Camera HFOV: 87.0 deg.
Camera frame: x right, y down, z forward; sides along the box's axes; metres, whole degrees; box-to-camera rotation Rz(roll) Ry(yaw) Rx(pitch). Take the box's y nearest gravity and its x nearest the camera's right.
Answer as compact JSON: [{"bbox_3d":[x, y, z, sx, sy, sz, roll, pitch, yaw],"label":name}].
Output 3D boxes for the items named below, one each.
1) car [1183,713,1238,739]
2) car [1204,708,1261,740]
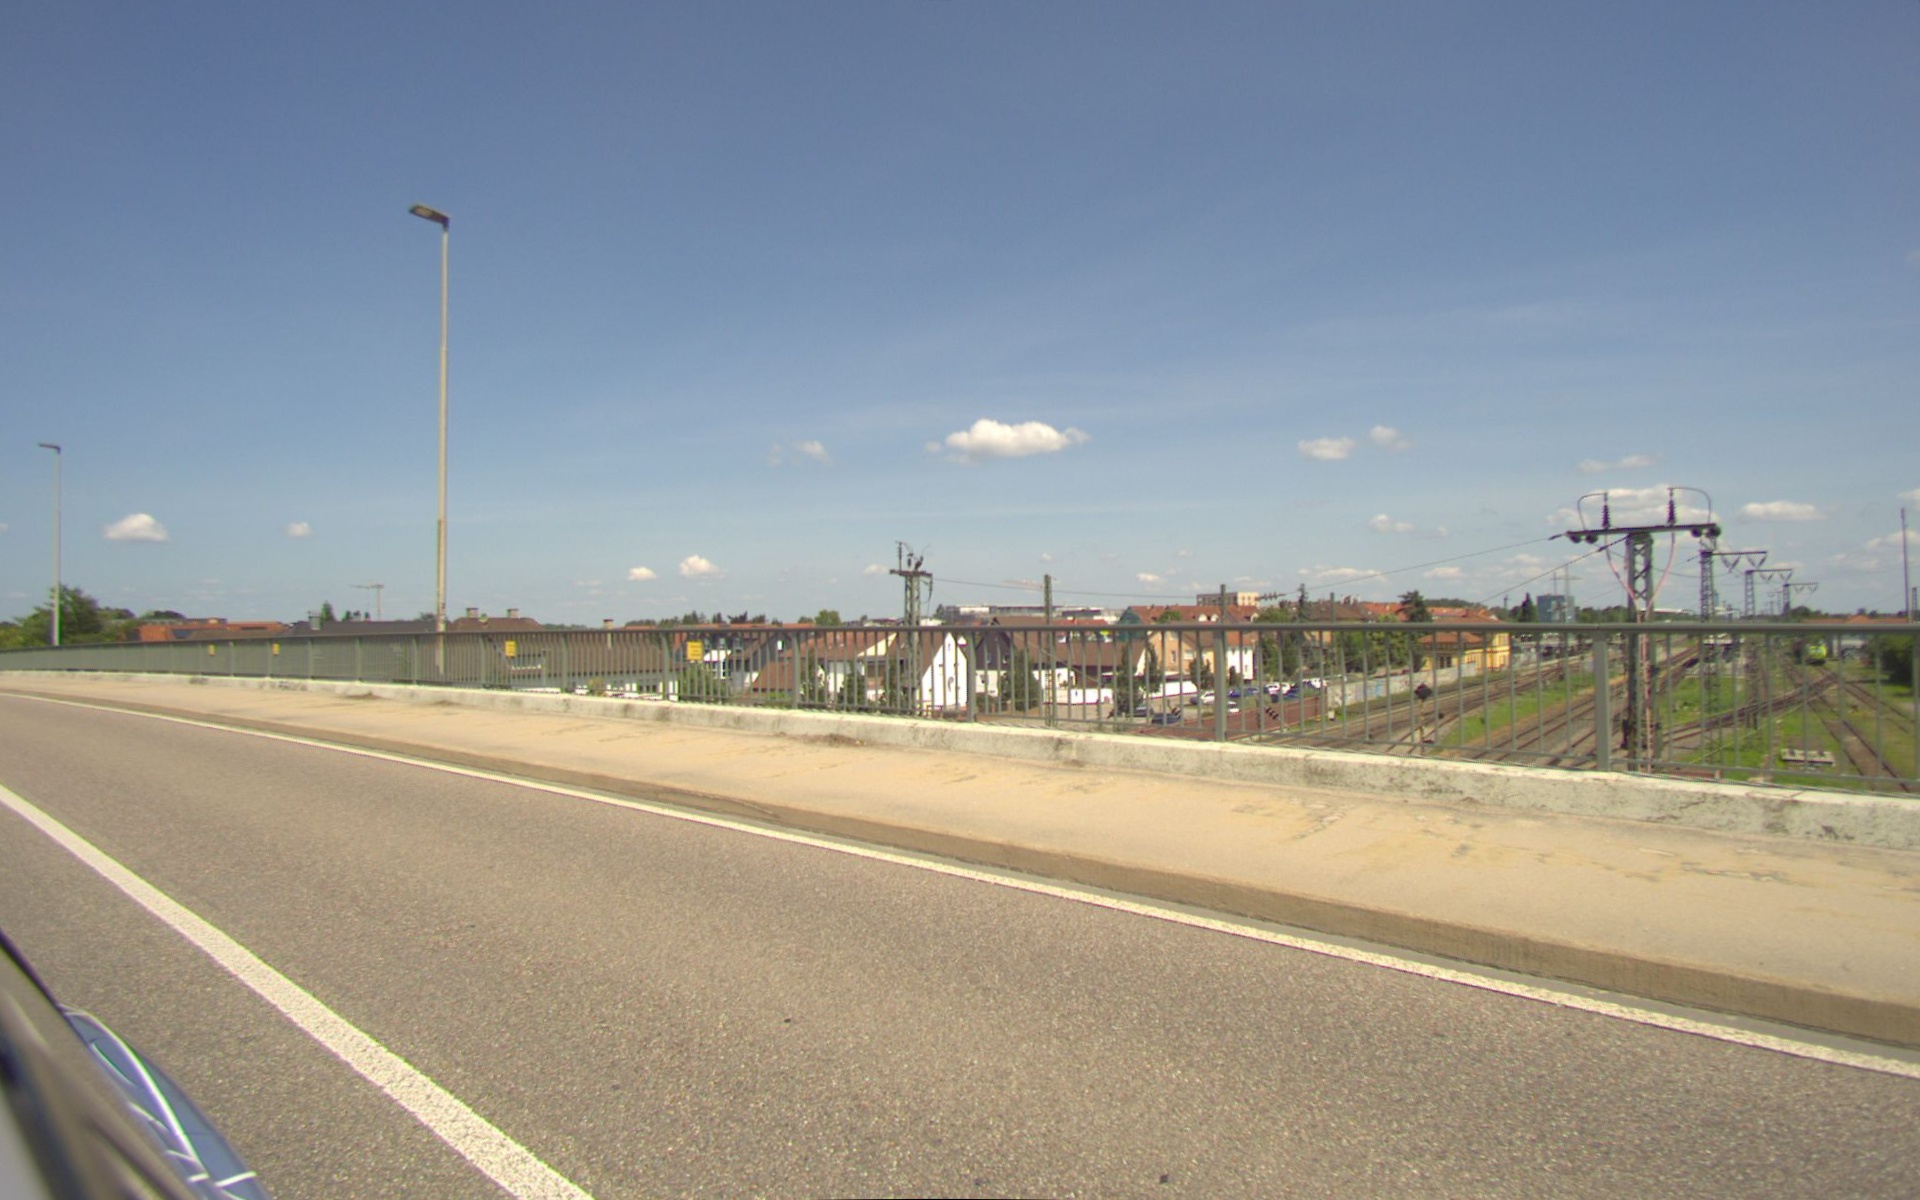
[{"bbox_3d":[22.552,11.314,91.168,2.173,1.613,4.632,-5,2,-29],"label":"car"},{"bbox_3d":[25.233,11.476,93.878,1.968,2.027,4.867,-9,6,-33],"label":"car"}]
